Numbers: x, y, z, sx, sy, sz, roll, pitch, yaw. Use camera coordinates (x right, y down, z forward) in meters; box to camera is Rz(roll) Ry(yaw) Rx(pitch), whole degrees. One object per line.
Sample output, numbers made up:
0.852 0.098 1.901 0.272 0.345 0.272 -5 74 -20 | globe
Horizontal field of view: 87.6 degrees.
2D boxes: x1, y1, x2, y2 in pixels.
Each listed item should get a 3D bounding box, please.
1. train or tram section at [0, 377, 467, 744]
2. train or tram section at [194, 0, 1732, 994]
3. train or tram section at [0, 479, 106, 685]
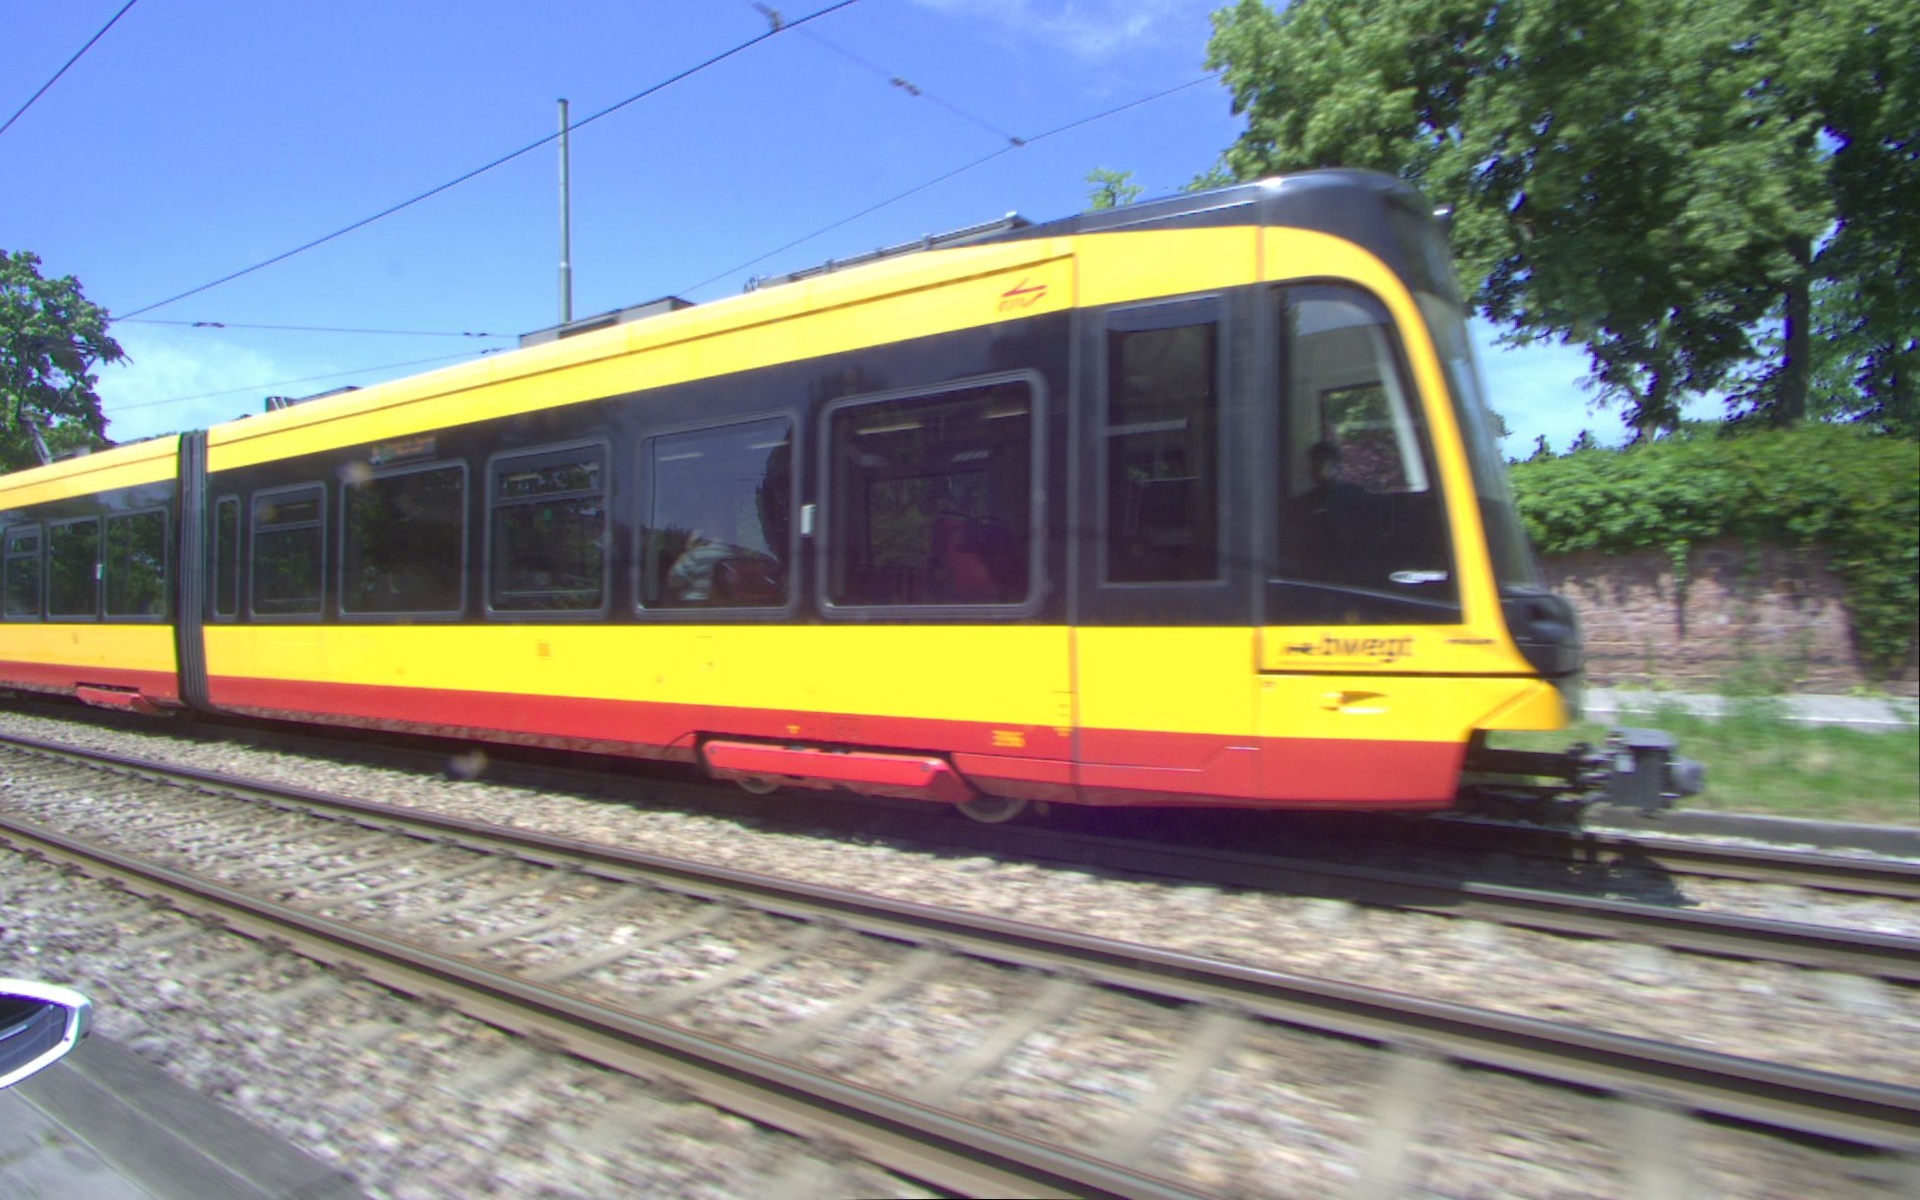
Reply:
-12.644 -0.369 15.332 12.905 3.848 3.021 0 1 33 | train or tram section
-1.892 -0.504 8.317 12.906 3.848 3.021 0 1 34 | train or tram section
-23.204 -0.292 22.229 12.580 3.848 3.021 0 1 33 | train or tram section
